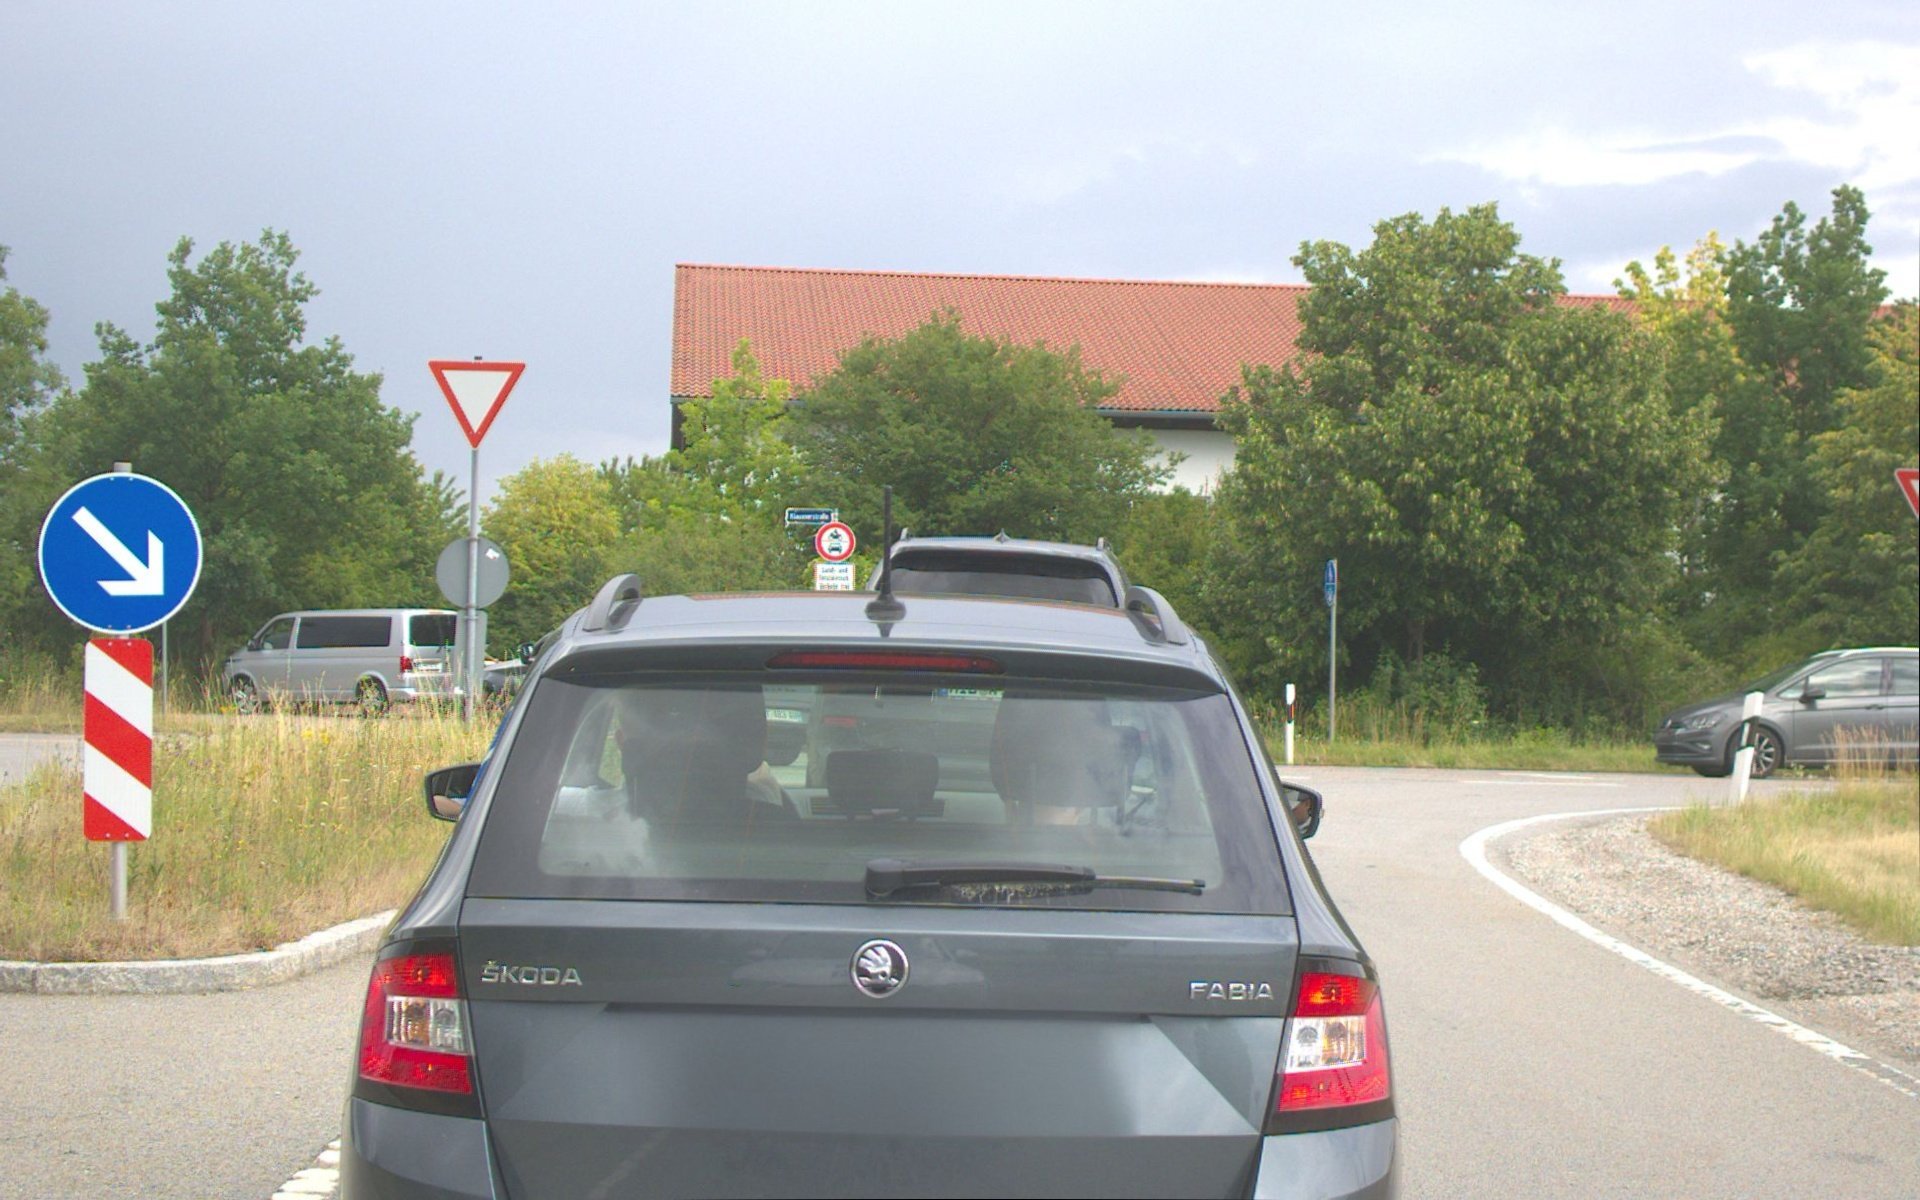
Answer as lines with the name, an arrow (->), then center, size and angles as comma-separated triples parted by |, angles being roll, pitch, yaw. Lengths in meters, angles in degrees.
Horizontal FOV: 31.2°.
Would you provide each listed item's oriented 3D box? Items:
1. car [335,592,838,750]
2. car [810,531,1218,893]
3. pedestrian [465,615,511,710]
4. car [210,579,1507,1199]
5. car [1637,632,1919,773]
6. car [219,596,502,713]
car -> -3.470, 0.632, 32.087 | 4.345, 1.340, 1.680 | 1, 0, 15
car -> 0.175, 0.603, 19.655 | 1.993, 1.768, 4.644 | 2, -1, -3
pedestrian -> -8.667, 1.138, 63.092 | 0.529, 1.720, 0.640 | 1, 0, 34
car -> -0.157, 0.704, 6.333 | 1.676, 1.458, 3.708 | 1, 0, -1
car -> 10.366, 1.196, 40.826 | 4.210, 1.596, 2.000 | 0, 0, -3
car -> -11.083, 0.969, 63.411 | 4.908, 2.007, 2.337 | 1, 1, 35
